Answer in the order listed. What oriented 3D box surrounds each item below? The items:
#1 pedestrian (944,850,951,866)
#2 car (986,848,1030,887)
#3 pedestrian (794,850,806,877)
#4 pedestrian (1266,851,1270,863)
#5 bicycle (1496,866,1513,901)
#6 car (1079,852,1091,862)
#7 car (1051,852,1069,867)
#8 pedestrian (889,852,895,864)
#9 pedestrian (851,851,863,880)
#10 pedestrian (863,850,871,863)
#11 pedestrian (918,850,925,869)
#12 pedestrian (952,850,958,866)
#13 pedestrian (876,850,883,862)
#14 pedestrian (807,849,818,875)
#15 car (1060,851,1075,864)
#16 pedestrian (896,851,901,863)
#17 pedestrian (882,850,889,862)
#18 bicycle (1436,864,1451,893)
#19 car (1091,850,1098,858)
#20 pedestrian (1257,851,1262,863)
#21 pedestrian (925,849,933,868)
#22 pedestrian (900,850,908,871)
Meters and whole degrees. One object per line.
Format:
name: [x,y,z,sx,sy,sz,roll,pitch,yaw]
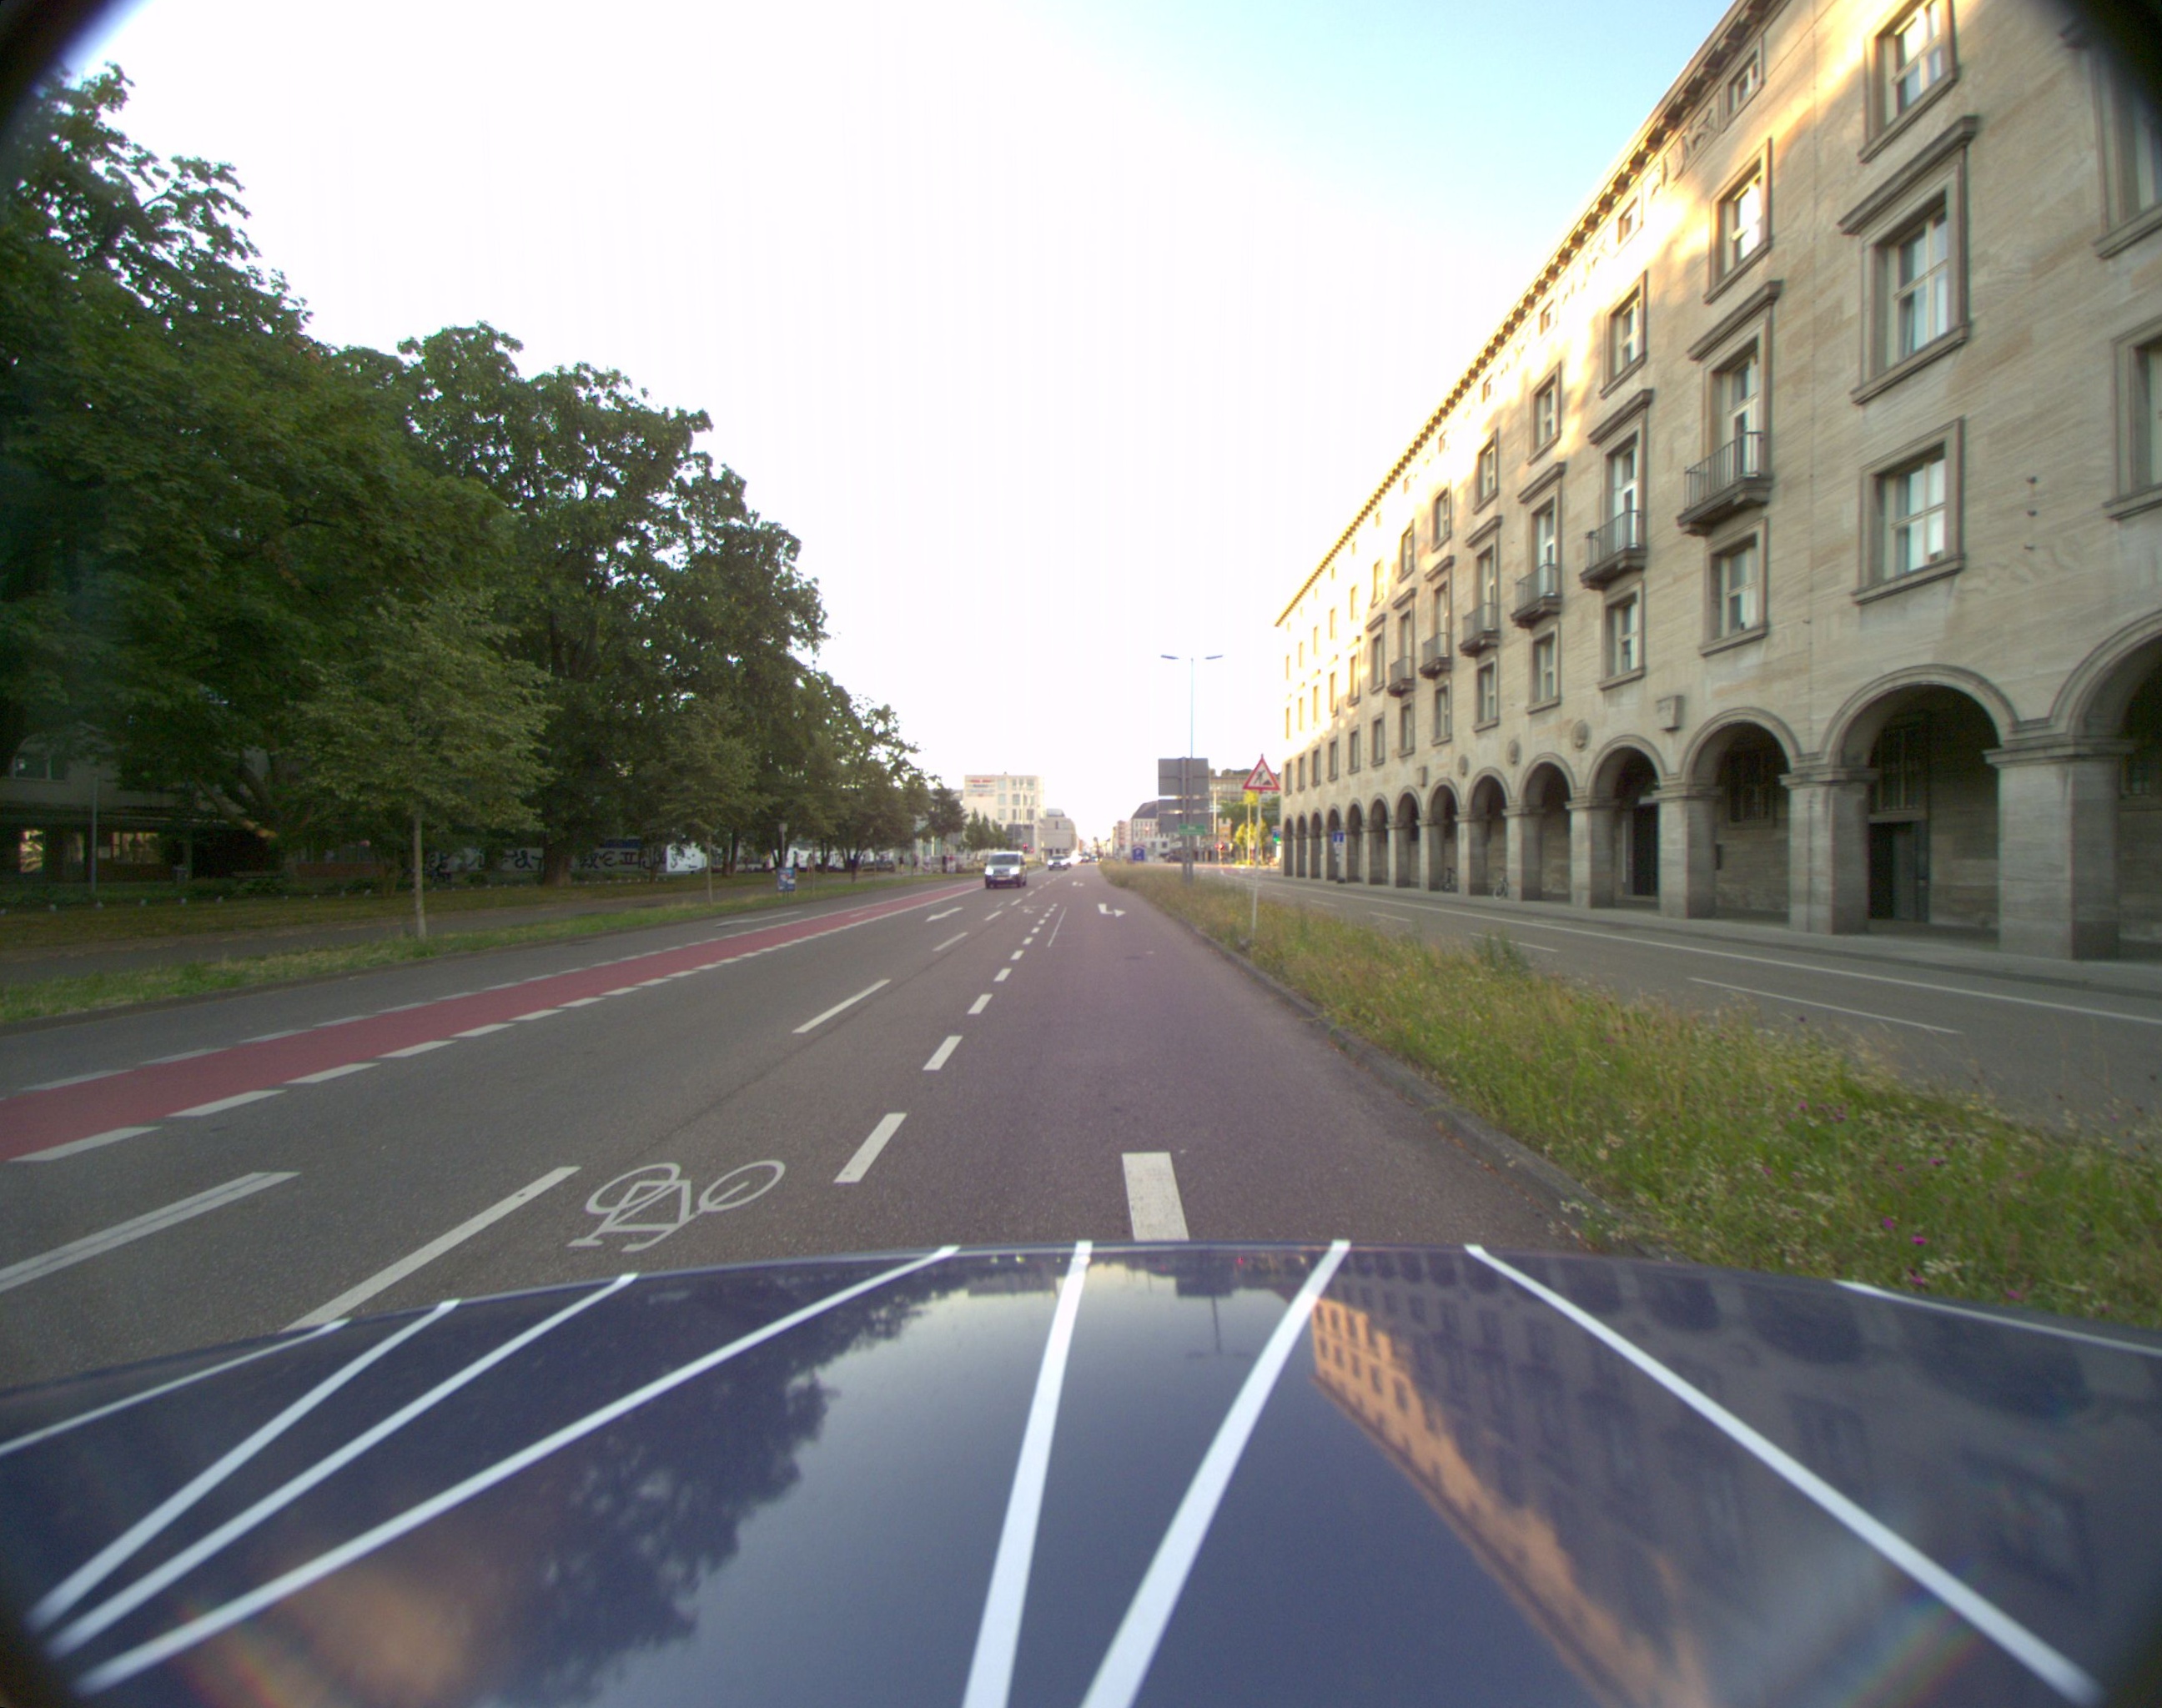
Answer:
pedestrian: [-14.391,0.427,82.117,0.638,1.747,0.506,0,1,1]
car: [-3.723,0.668,39.349,1.767,1.877,4.499,-2,0,0]
pedestrian: [-16.640,0.549,45.062,0.500,1.592,0.522,0,1,1]
pedestrian: [25.403,0.413,103.146,0.526,1.532,0.390,0,1,1]
bicycle: [15.364,1.036,27.540,0.513,1.115,2.427,0,1,30]
car: [0.668,0.444,123.259,1.782,1.676,4.214,0,0,-2]
car: [-2.200,0.550,81.429,1.826,1.612,4.336,0,0,0]
pedestrian: [-20.892,0.438,83.897,0.519,1.347,0.773,0,1,1]
pedestrian: [-13.650,0.687,46.250,0.558,1.729,0.555,0,1,1]
pedestrian: [-23.385,0.275,83.004,0.728,1.347,0.614,0,1,1]
pedestrian: [-14.635,0.539,69.790,0.519,1.720,0.719,0,1,1]
pedestrian: [-13.592,0.465,82.004,0.638,1.747,0.506,0,1,1]
pedestrian: [-22.069,0.216,83.206,0.662,1.347,0.559,0,1,1]
pedestrian: [-16.279,0.496,46.045,0.500,1.592,0.365,0,1,1]
car: [-1.671,0.448,95.795,1.782,1.617,4.215,-1,0,1]
pedestrian: [-20.146,0.349,83.897,0.509,1.347,0.435,0,1,1]
pedestrian: [-21.791,0.248,84.630,0.654,1.347,0.505,0,1,1]
bicycle: [15.381,1.013,32.256,0.513,1.172,2.427,0,0,25]
car: [4.282,-0.005,237.249,1.999,2.297,5.089,0,0,0]
pedestrian: [24.266,0.406,103.310,0.638,1.747,0.506,0,1,1]
pedestrian: [-13.926,0.437,69.671,0.509,1.720,0.719,0,1,1]
pedestrian: [-14.973,0.549,64.248,0.509,1.720,0.719,0,1,1]
